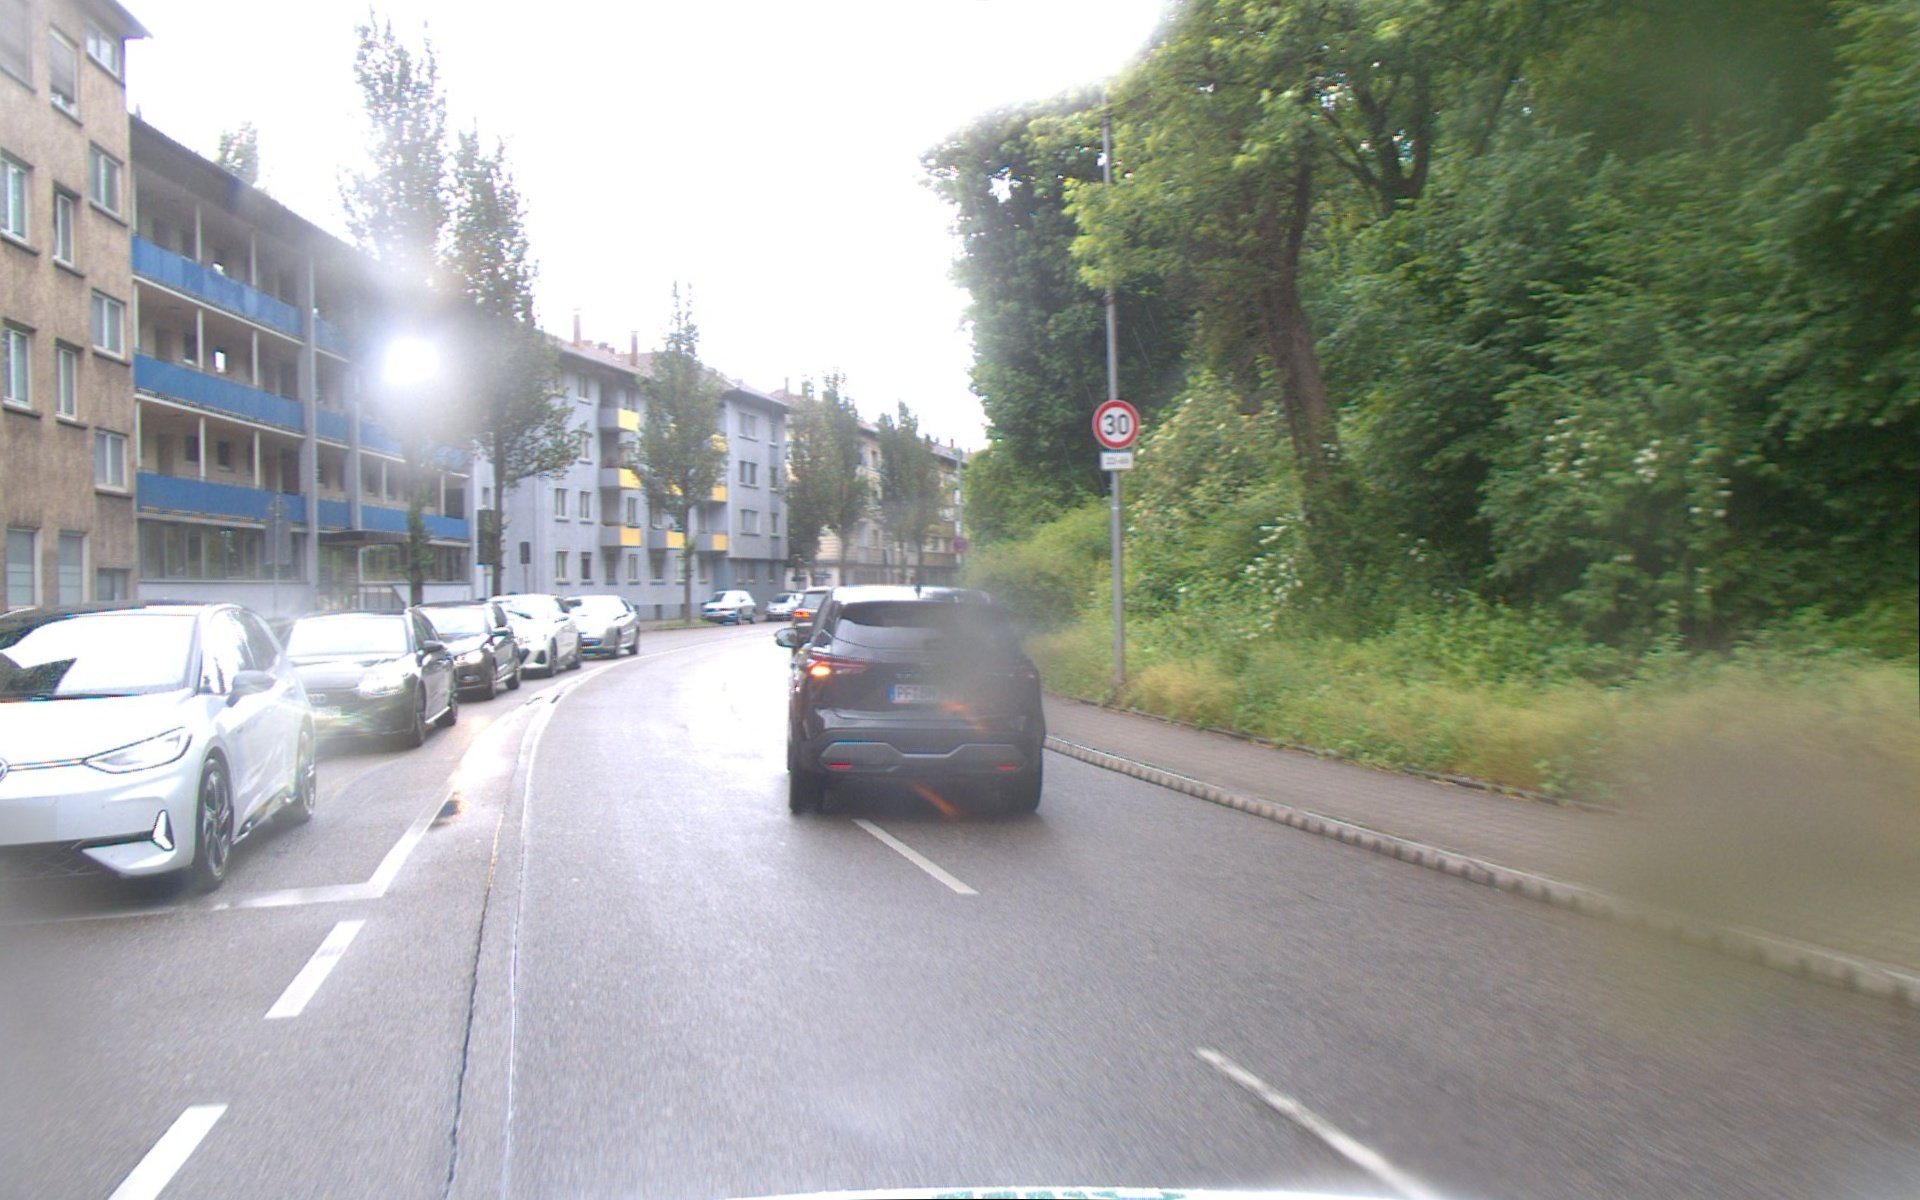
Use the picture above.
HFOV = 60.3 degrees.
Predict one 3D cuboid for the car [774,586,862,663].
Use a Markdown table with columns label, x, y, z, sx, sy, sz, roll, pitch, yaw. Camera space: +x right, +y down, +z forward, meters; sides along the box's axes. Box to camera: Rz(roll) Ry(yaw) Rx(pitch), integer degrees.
| label | x | y | z | sx | sy | sz | roll | pitch | yaw |
| --- | --- | --- | --- | --- | --- | --- | --- | --- | --- |
| car | -3.347 | 0.538 | 39.746 | 1.849 | 1.741 | 3.999 | -1 | 0 | -2 |

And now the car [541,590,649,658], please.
| label | x | y | z | sx | sy | sz | roll | pitch | yaw |
| --- | --- | --- | --- | --- | --- | --- | --- | --- | --- |
| car | -8.602 | 0.528 | 39.313 | 1.717 | 1.450 | 4.535 | -2 | 1 | -3 |

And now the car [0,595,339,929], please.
| label | x | y | z | sx | sy | sz | roll | pitch | yaw |
| --- | --- | --- | --- | --- | --- | --- | --- | --- | --- |
| car | -4.988 | 0.777 | 9.828 | 1.754 | 1.522 | 4.203 | -3 | 1 | -12 |

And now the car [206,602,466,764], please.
| label | x | y | z | sx | sy | sz | roll | pitch | yaw |
| --- | --- | --- | --- | --- | --- | --- | --- | --- | --- |
| car | -6.609 | 0.787 | 18.027 | 1.758 | 1.431 | 4.614 | -2 | 1 | -10 |

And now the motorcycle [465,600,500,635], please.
| label | x | y | z | sx | sy | sz | roll | pitch | yaw |
| --- | --- | --- | --- | --- | --- | --- | --- | --- | --- |
| motorcycle | -18.593 | 0.671 | 64.480 | 0.661 | 1.276 | 2.237 | 1 | 1 | 1 |

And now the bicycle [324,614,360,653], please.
| label | x | y | z | sx | sy | sz | roll | pitch | yaw |
| --- | --- | --- | --- | --- | --- | --- | --- | --- | --- |
| bicycle | -17.338 | 0.923 | 46.420 | 0.601 | 1.041 | 1.729 | -2 | 1 | -11 |

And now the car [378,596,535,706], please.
| label | x | y | z | sx | sy | sz | roll | pitch | yaw |
| --- | --- | --- | --- | --- | --- | --- | --- | --- | --- |
| car | -7.724 | 0.726 | 25.689 | 1.648 | 1.472 | 3.814 | -3 | 1 | -7 |

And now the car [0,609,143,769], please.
| label | x | y | z | sx | sy | sz | roll | pitch | yaw |
| --- | --- | --- | --- | --- | --- | --- | --- | --- | --- |
| car | -10.231 | 0.902 | 17.769 | 1.629 | 1.481 | 3.987 | -3 | 1 | -13 |

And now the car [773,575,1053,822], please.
| label | x | y | z | sx | sy | sz | roll | pitch | yaw |
| --- | --- | --- | --- | --- | --- | --- | --- | --- | --- |
| car | -0.523 | 0.613 | 12.915 | 1.810 | 1.610 | 3.994 | 0 | 1 | -7 |

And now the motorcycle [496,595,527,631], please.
| label | x | y | z | sx | sy | sz | roll | pitch | yaw |
| --- | --- | --- | --- | --- | --- | --- | --- | --- | --- |
| motorcycle | -18.640 | 0.516 | 68.775 | 0.661 | 1.438 | 2.236 | 1 | 0 | -1 |

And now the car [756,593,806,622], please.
| label | x | y | z | sx | sy | sz | roll | pitch | yaw |
| --- | --- | --- | --- | --- | --- | --- | --- | --- | --- |
| car | -9.671 | 0.381 | 89.811 | 1.687 | 1.478 | 4.209 | -2 | 0 | 8 |

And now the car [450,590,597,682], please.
| label | x | y | z | sx | sy | sz | roll | pitch | yaw |
| --- | --- | --- | --- | --- | --- | --- | --- | --- | --- |
| car | -8.366 | 0.631 | 32.112 | 1.784 | 1.543 | 5.024 | -3 | 1 | -4 |

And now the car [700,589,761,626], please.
| label | x | y | z | sx | sy | sz | roll | pitch | yaw |
| --- | --- | --- | --- | --- | --- | --- | --- | --- | --- |
| car | -10.919 | 0.335 | 79.029 | 1.726 | 1.632 | 4.537 | -2 | 0 | 7 |

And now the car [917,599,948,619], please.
| label | x | y | z | sx | sy | sz | roll | pitch | yaw |
| --- | --- | --- | --- | --- | --- | --- | --- | --- | --- |
| car | -2.128 | 0.719 | 129.390 | 1.591 | 1.411 | 3.992 | -2 | 0 | 12 |
